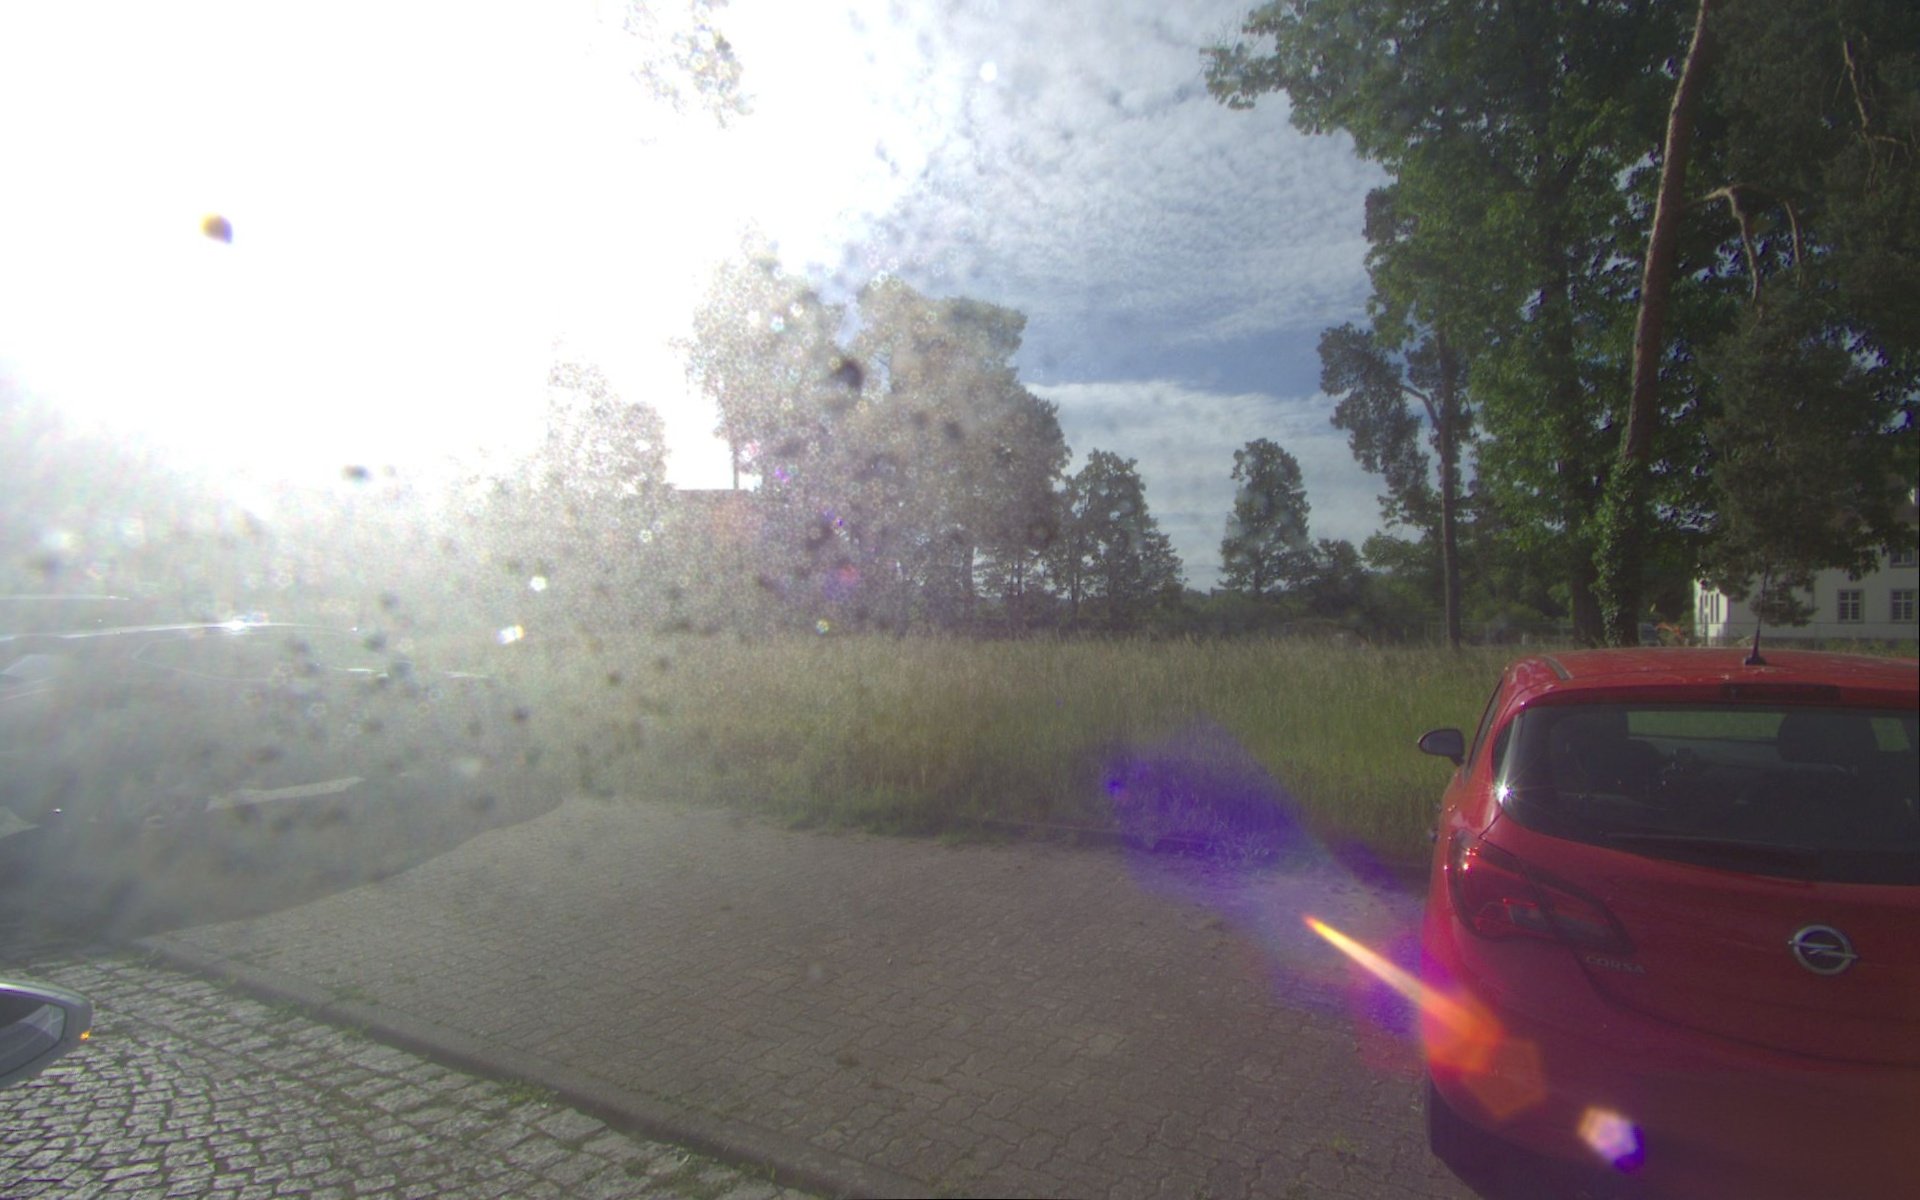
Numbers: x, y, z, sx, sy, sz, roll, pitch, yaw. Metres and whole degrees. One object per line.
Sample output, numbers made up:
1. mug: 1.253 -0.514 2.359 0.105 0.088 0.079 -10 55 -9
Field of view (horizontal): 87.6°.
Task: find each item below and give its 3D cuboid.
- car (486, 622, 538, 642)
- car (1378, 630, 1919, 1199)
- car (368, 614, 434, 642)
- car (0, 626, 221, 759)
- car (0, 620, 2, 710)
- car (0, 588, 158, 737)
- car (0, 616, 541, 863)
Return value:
1. car: -39.773 2.832 88.955 1.827 1.701 3.931 -1 -2 27
2. car: 2.709 0.898 3.837 1.661 1.492 3.873 -1 -1 28
3. car: -53.762 2.705 96.444 2.231 2.568 5.152 -1 -2 31
4. car: -11.560 1.069 11.853 1.779 1.488 4.190 -1 -1 26
5. car: -18.150 1.104 15.937 1.781 1.550 3.870 -1 -1 30
6. car: -13.730 0.840 13.041 1.962 1.954 4.727 -1 0 29
7. car: -6.078 0.964 8.830 1.849 1.609 4.187 -1 -1 28
